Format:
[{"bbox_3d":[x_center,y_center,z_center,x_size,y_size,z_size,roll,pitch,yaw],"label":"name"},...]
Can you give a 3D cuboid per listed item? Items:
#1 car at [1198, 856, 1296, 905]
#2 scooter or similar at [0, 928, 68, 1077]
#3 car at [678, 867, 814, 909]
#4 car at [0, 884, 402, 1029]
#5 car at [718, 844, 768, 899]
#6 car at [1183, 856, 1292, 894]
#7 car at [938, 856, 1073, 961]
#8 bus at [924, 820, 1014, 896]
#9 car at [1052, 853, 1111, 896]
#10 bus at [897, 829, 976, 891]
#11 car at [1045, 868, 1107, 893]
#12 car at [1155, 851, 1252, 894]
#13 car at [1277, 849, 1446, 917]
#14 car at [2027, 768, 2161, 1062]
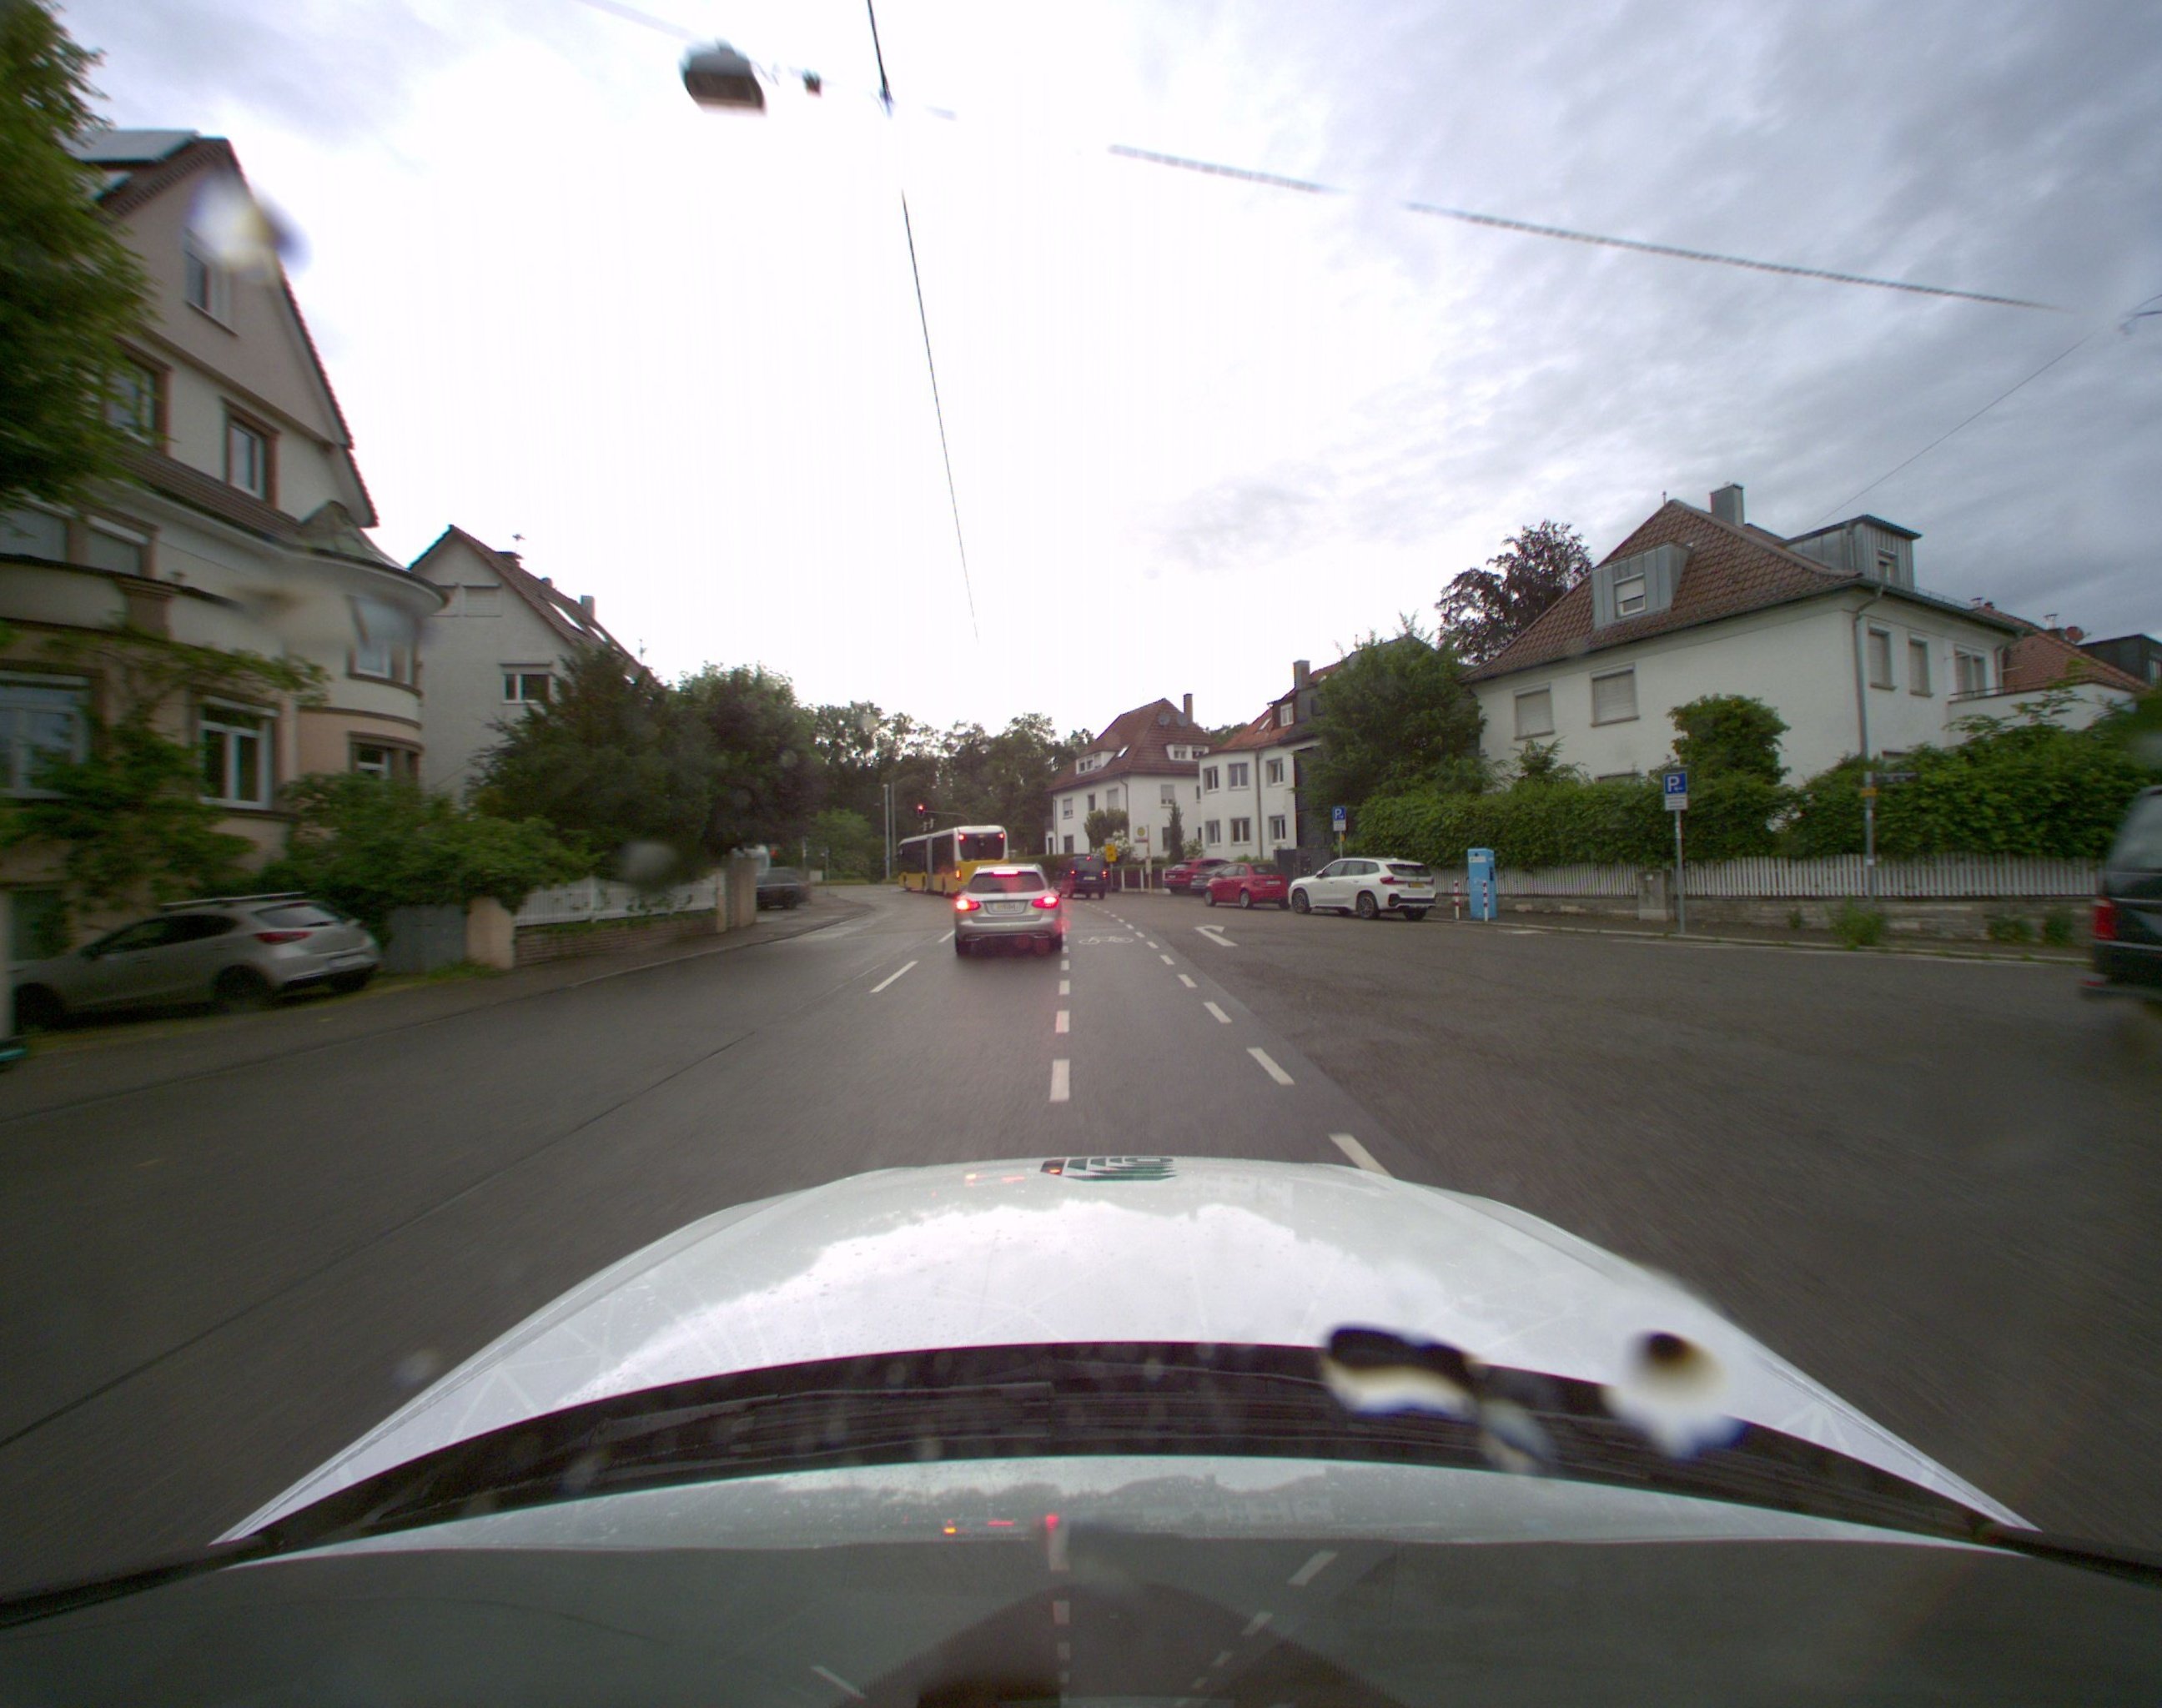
[{"bbox_3d":[5.512,0.857,27.395,1.617,1.537,3.515,0,-1,-21],"label":"car"},{"bbox_3d":[-9.093,1.234,6.554,0.400,1.188,1.141,0,-1,2],"label":"scooter or similar"},{"bbox_3d":[-12.911,1.251,31.725,1.780,1.495,4.712,0,-1,33],"label":"car"},{"bbox_3d":[-12.149,1.348,11.429,3.575,1.540,1.707,-3,1,-5],"label":"car"},{"bbox_3d":[-16.159,0.826,39.174,2.000,2.448,5.456,0,-1,-20],"label":"car"},{"bbox_3d":[7.031,0.893,36.419,4.575,1.416,1.981,-2,0,-30],"label":"car"},{"bbox_3d":[-1.285,0.825,14.463,1.990,1.479,4.479,-2,0,-4],"label":"car"},{"bbox_3d":[-5.858,0.213,41.166,2.686,3.398,8.620,-1,0,-20],"label":"bus"},{"bbox_3d":[-0.055,0.921,36.761,1.811,1.797,3.982,-1,-1,-13],"label":"car"},{"bbox_3d":[-8.941,0.363,49.484,2.911,3.398,8.974,-1,0,-22],"label":"bus"},{"bbox_3d":[-0.313,1.728,53.560,3.761,1.388,1.603,-2,1,-25],"label":"car"},{"bbox_3d":[5.776,0.841,38.337,4.098,1.750,1.981,-2,0,-29],"label":"car"},{"bbox_3d":[7.576,0.748,22.501,1.752,1.672,4.610,0,-1,-24],"label":"car"},{"bbox_3d":[9.577,0.326,5.174,4.893,1.948,1.939,-2,-1,-1],"label":"car"}]
